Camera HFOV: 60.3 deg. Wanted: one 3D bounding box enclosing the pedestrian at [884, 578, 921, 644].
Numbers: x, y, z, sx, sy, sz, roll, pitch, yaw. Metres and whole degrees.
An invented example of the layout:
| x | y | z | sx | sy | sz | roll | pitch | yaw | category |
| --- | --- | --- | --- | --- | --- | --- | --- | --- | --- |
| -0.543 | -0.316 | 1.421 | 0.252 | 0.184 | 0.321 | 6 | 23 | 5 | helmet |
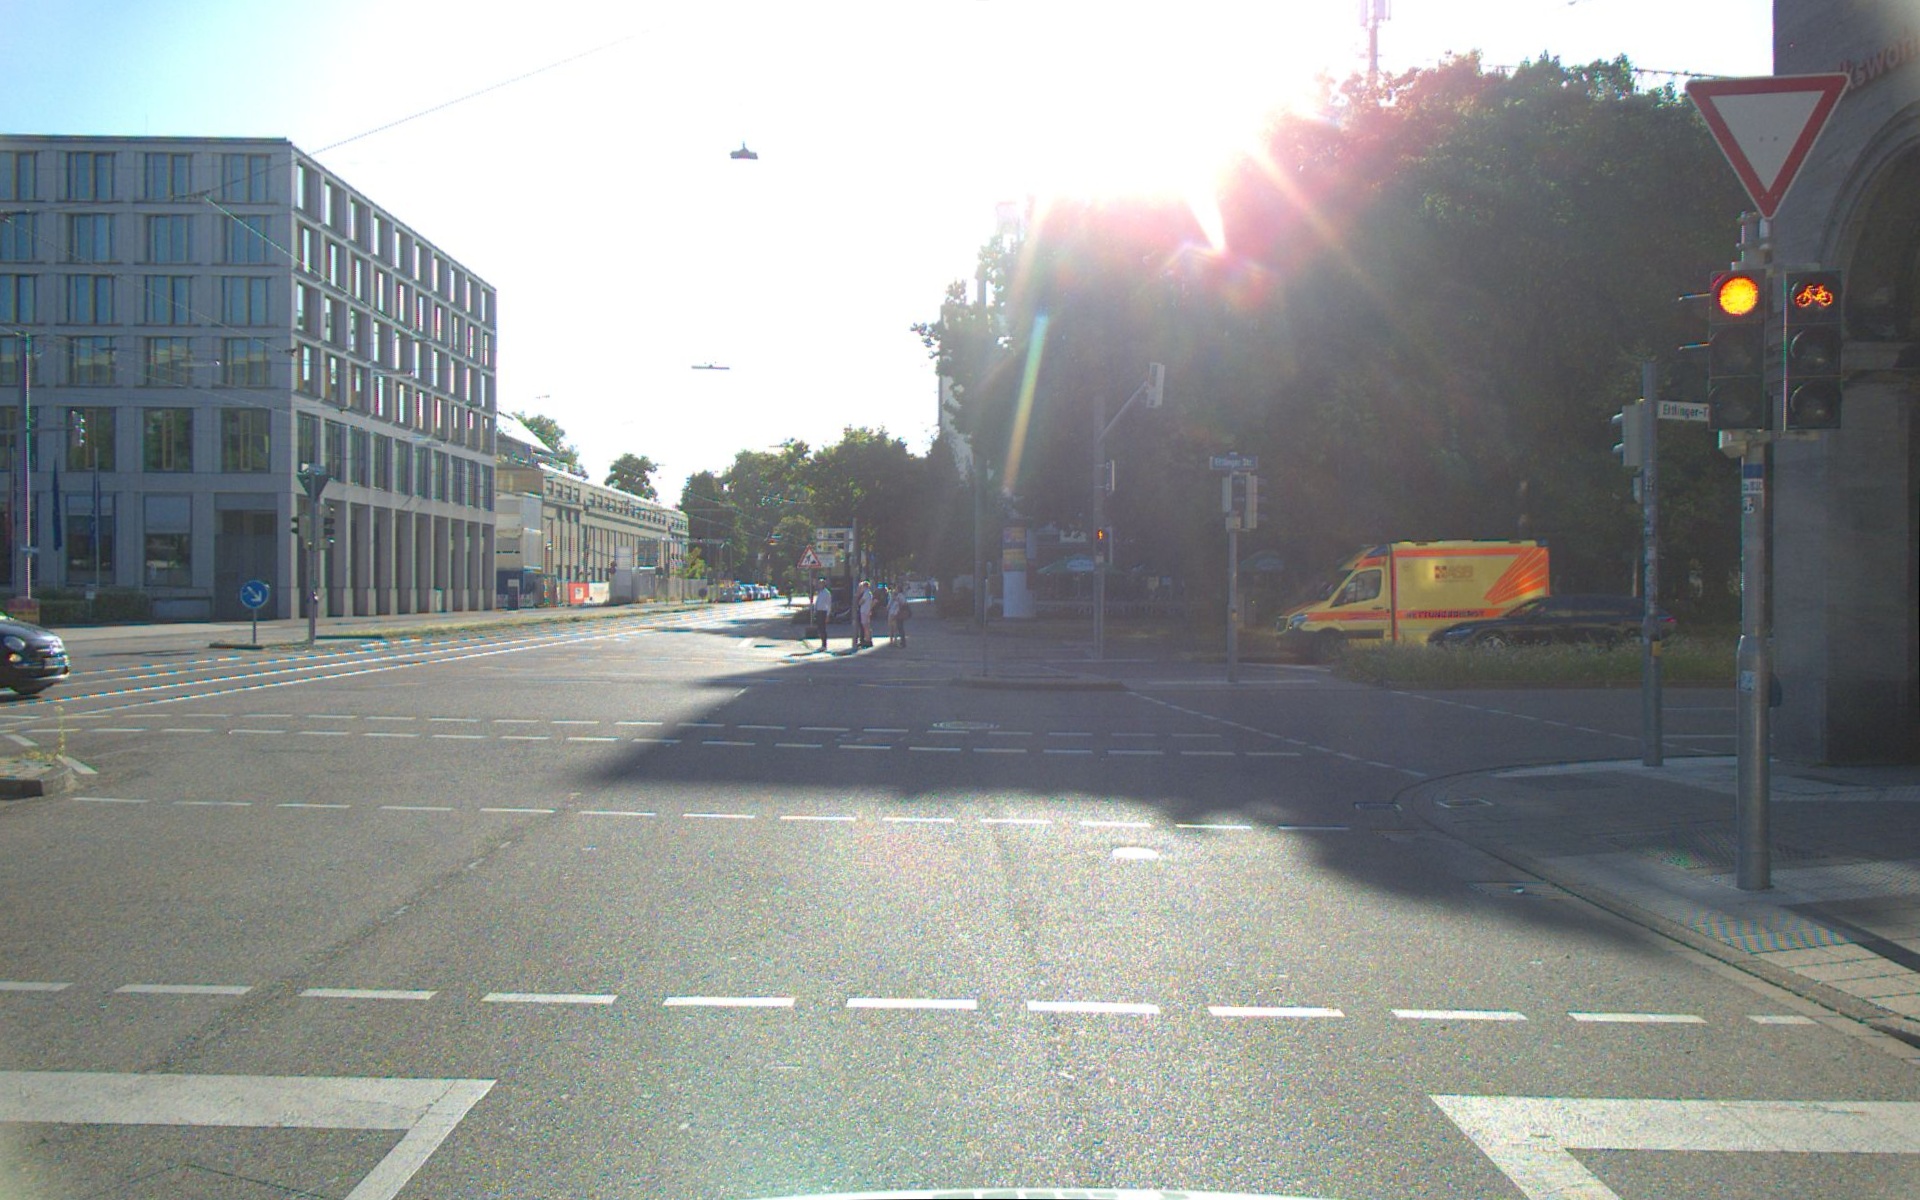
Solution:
| x | y | z | sx | sy | sz | roll | pitch | yaw | category |
| --- | --- | --- | --- | --- | --- | --- | --- | --- | --- |
| -1.592 | 0.305 | 45.761 | 0.834 | 1.815 | 0.776 | 0 | 0 | -17 | pedestrian |

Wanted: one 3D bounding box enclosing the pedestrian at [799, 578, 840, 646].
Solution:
| x | y | z | sx | sy | sz | roll | pitch | yaw | category |
| --- | --- | --- | --- | --- | --- | --- | --- | --- | --- |
| -3.814 | 0.313 | 44.799 | 0.950 | 1.815 | 0.776 | 0 | 0 | -17 | pedestrian |

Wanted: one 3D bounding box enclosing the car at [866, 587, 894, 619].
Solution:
| x | y | z | sx | sy | sz | roll | pitch | yaw | category |
| --- | --- | --- | --- | --- | --- | --- | --- | --- | --- |
| -5.191 | 0.229 | 107.532 | 1.650 | 1.996 | 3.508 | 2 | -1 | -1 | car |

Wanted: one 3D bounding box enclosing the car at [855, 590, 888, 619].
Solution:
| x | y | z | sx | sy | sz | roll | pitch | yaw | category |
| --- | --- | --- | --- | --- | --- | --- | --- | --- | --- |
| -4.922 | 0.280 | 91.923 | 1.650 | 1.527 | 3.508 | 2 | -1 | -1 | car |

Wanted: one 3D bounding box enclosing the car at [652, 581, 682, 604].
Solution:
| x | y | z | sx | sy | sz | roll | pitch | yaw | category |
| --- | --- | --- | --- | --- | --- | --- | --- | --- | --- |
| -23.535 | -0.603 | 133.099 | 1.782 | 1.742 | 3.805 | 0 | 0 | -1 | car |

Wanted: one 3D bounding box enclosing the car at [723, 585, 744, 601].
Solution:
| x | y | z | sx | sy | sz | roll | pitch | yaw | category |
| --- | --- | --- | --- | --- | --- | --- | --- | --- | --- |
| -21.850 | -0.713 | 159.580 | 1.577 | 1.525 | 3.805 | 0 | 0 | -1 | car |

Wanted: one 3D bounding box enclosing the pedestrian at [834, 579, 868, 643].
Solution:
| x | y | z | sx | sy | sz | roll | pitch | yaw | category |
| --- | --- | --- | --- | --- | --- | --- | --- | --- | --- |
| -3.123 | 0.320 | 47.323 | 0.834 | 1.815 | 0.776 | 0 | 0 | -17 | pedestrian |

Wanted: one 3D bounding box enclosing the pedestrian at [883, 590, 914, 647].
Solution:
| x | y | z | sx | sy | sz | roll | pitch | yaw | category |
| --- | --- | --- | --- | --- | --- | --- | --- | --- | --- |
| -1.729 | 0.512 | 46.522 | 0.750 | 1.586 | 0.585 | 0 | 0 | -17 | pedestrian |

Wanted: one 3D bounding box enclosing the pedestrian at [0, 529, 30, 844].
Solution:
| x | y | z | sx | sy | sz | roll | pitch | yaw | category |
| --- | --- | --- | --- | --- | --- | --- | --- | --- | --- |
| -5.830 | 0.482 | 9.043 | 1.021 | 1.751 | 1.032 | 0 | 0 | -12 | pedestrian |

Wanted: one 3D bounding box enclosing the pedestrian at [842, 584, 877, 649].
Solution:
| x | y | z | sx | sy | sz | roll | pitch | yaw | category |
| --- | --- | --- | --- | --- | --- | --- | --- | --- | --- |
| -2.831 | 0.456 | 46.539 | 0.834 | 1.815 | 0.776 | 0 | 0 | -17 | pedestrian |

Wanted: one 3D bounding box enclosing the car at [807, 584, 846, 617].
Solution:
| x | y | z | sx | sy | sz | roll | pitch | yaw | category |
| --- | --- | --- | --- | --- | --- | --- | --- | --- | --- |
| -6.587 | 0.049 | 81.743 | 1.650 | 1.527 | 3.508 | 2 | -1 | -1 | car |

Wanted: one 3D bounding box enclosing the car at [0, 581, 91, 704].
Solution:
| x | y | z | sx | sy | sz | roll | pitch | yaw | category |
| --- | --- | --- | --- | --- | --- | --- | --- | --- | --- |
| -13.308 | 0.510 | 21.240 | 3.460 | 1.532 | 1.521 | 1 | 0 | -3 | car |

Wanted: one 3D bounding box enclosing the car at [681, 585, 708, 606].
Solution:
| x | y | z | sx | sy | sz | roll | pitch | yaw | category |
| --- | --- | --- | --- | --- | --- | --- | --- | --- | --- |
| -23.124 | -0.409 | 143.972 | 1.782 | 1.742 | 3.805 | 0 | 0 | -1 | car |

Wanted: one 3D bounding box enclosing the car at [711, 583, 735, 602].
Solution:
| x | y | z | sx | sy | sz | roll | pitch | yaw | category |
| --- | --- | --- | --- | --- | --- | --- | --- | --- | --- |
| -22.284 | -0.698 | 155.587 | 1.782 | 1.742 | 3.805 | 0 | 0 | -1 | car |

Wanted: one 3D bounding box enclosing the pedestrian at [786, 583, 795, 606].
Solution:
| x | y | z | sx | sy | sz | roll | pitch | yaw | category |
| --- | --- | --- | --- | --- | --- | --- | --- | --- | --- |
| -11.176 | -0.372 | 109.103 | 0.513 | 1.510 | 0.437 | 2 | -1 | -2 | pedestrian |

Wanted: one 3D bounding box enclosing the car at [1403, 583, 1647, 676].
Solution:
| x | y | z | sx | sy | sz | roll | pitch | yaw | category |
| --- | --- | --- | --- | --- | --- | --- | --- | --- | --- |
| 11.245 | 0.588 | 33.105 | 4.226 | 1.676 | 1.887 | 2 | -1 | -1 | car |

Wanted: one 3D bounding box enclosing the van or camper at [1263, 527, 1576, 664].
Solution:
| x | y | z | sx | sy | sz | roll | pitch | yaw | category |
| --- | --- | --- | --- | --- | --- | --- | --- | --- | --- |
| 10.641 | -0.098 | 38.844 | 6.568 | 2.912 | 2.912 | 2 | -1 | 3 | van or camper |

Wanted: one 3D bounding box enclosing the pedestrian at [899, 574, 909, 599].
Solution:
| x | y | z | sx | sy | sz | roll | pitch | yaw | category |
| --- | --- | --- | --- | --- | --- | --- | --- | --- | --- |
| -8.301 | -1.980 | 245.661 | 1.373 | 3.660 | 1.567 | 2 | -1 | -1 | pedestrian |
